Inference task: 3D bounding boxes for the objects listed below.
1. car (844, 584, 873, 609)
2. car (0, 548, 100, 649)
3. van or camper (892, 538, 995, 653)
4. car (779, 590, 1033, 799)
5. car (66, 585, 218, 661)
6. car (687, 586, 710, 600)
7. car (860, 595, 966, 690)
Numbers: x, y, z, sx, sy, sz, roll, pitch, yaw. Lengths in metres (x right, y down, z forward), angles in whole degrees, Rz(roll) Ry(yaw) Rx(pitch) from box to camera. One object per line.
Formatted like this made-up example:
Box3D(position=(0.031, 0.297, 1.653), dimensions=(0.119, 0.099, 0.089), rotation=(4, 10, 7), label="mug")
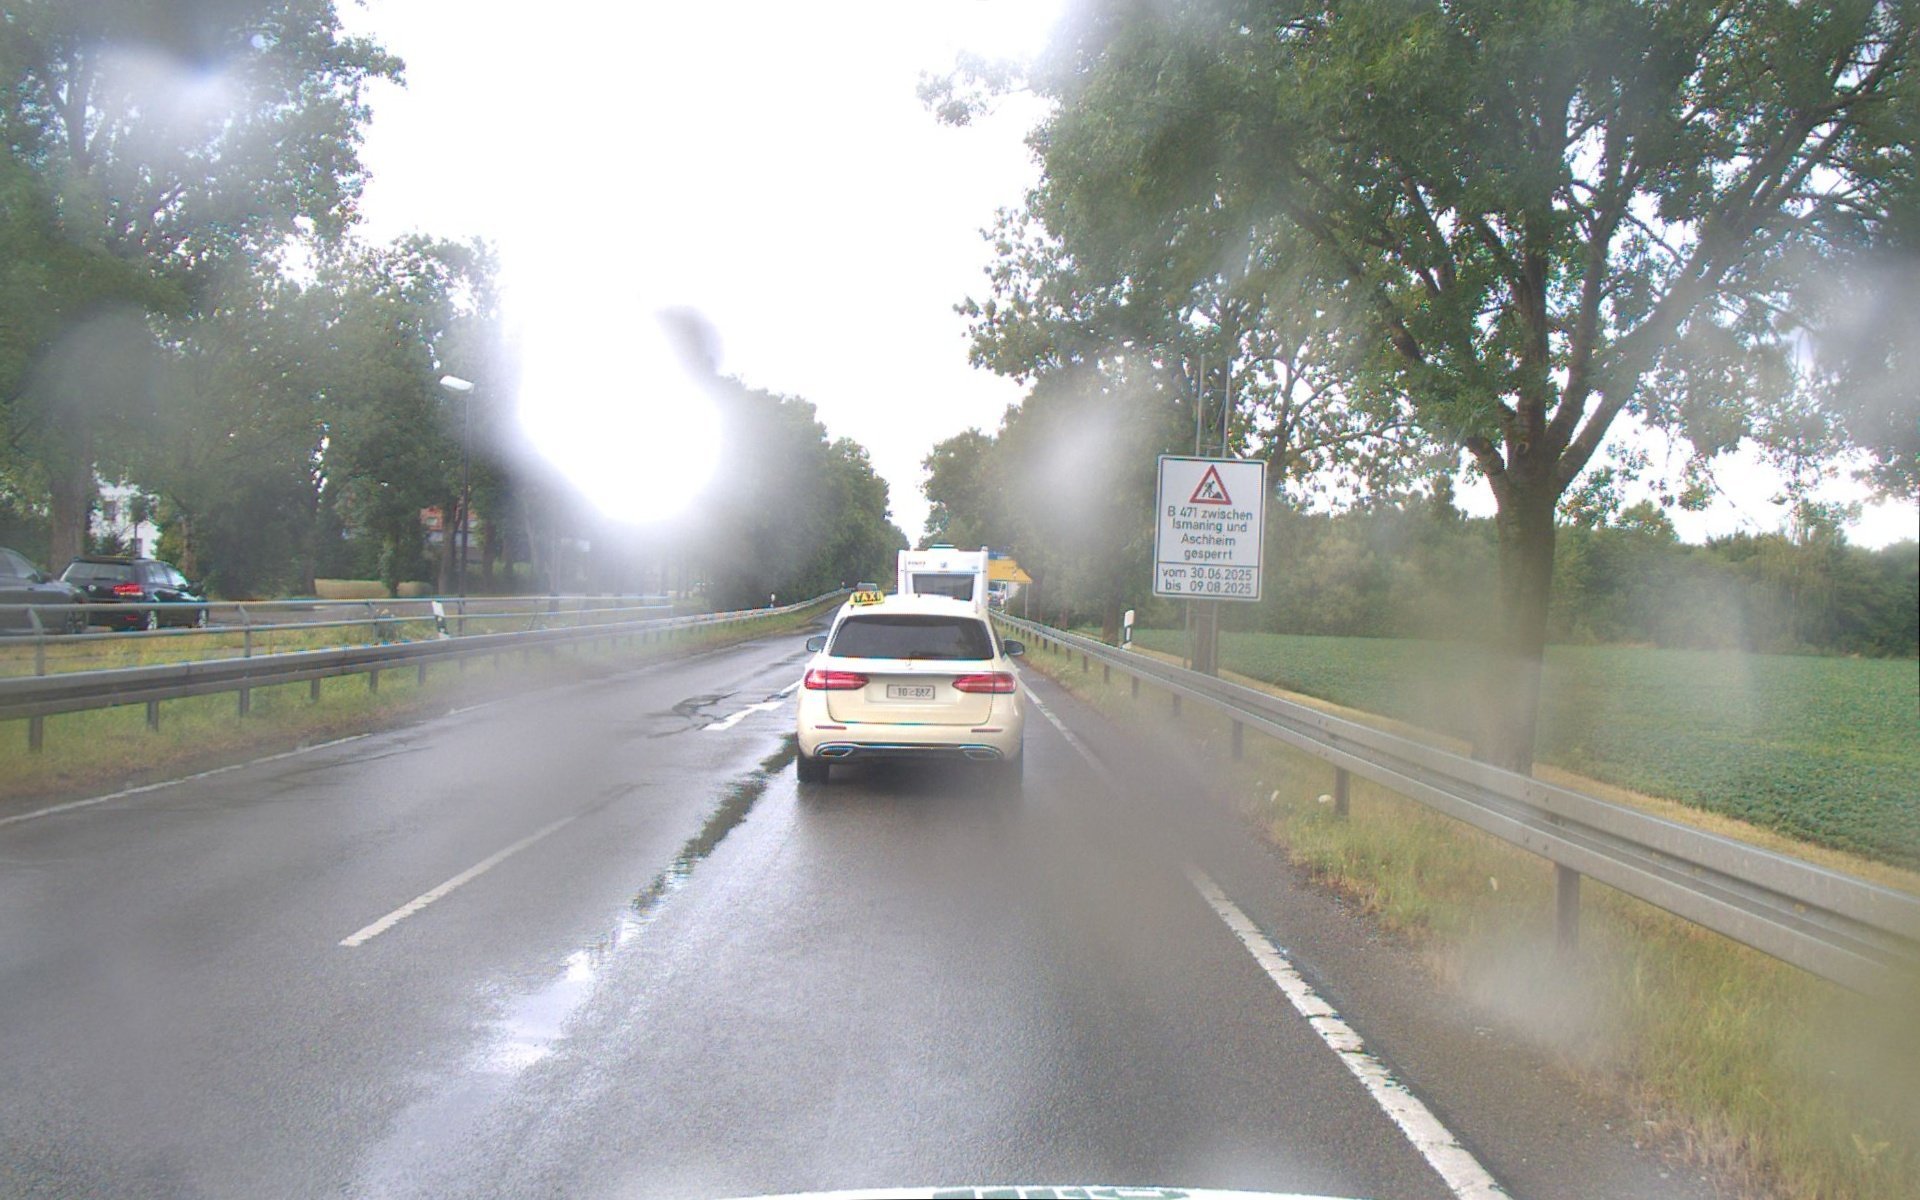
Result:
Box3D(position=(-6.733, -0.254, 110.256), dimensions=(1.728, 1.647, 3.999), rotation=(0, 0, -1), label="car")
Box3D(position=(-15.215, -0.064, 25.583), dimensions=(1.486, 1.517, 5.117), rotation=(2, 0, -5), label="car")
Box3D(position=(-0.381, -0.117, 42.999), dimensions=(2.438, 2.732, 5.700), rotation=(1, 0, 0), label="van or camper")
Box3D(position=(-0.378, 0.680, 14.019), dimensions=(1.826, 1.502, 4.000), rotation=(1, 0, 0), label="car")
Box3D(position=(-15.765, 0.406, 32.069), dimensions=(1.258, 1.354, 3.894), rotation=(2, 0, -5), label="car")
Box3D(position=(-28.193, -0.782, 178.547), dimensions=(1.749, 1.440, 4.000), rotation=(2, 0, 0), label="car")
Box3D(position=(-0.723, 0.656, 27.718), dimensions=(1.630, 1.456, 4.000), rotation=(1, 0, 0), label="car")
